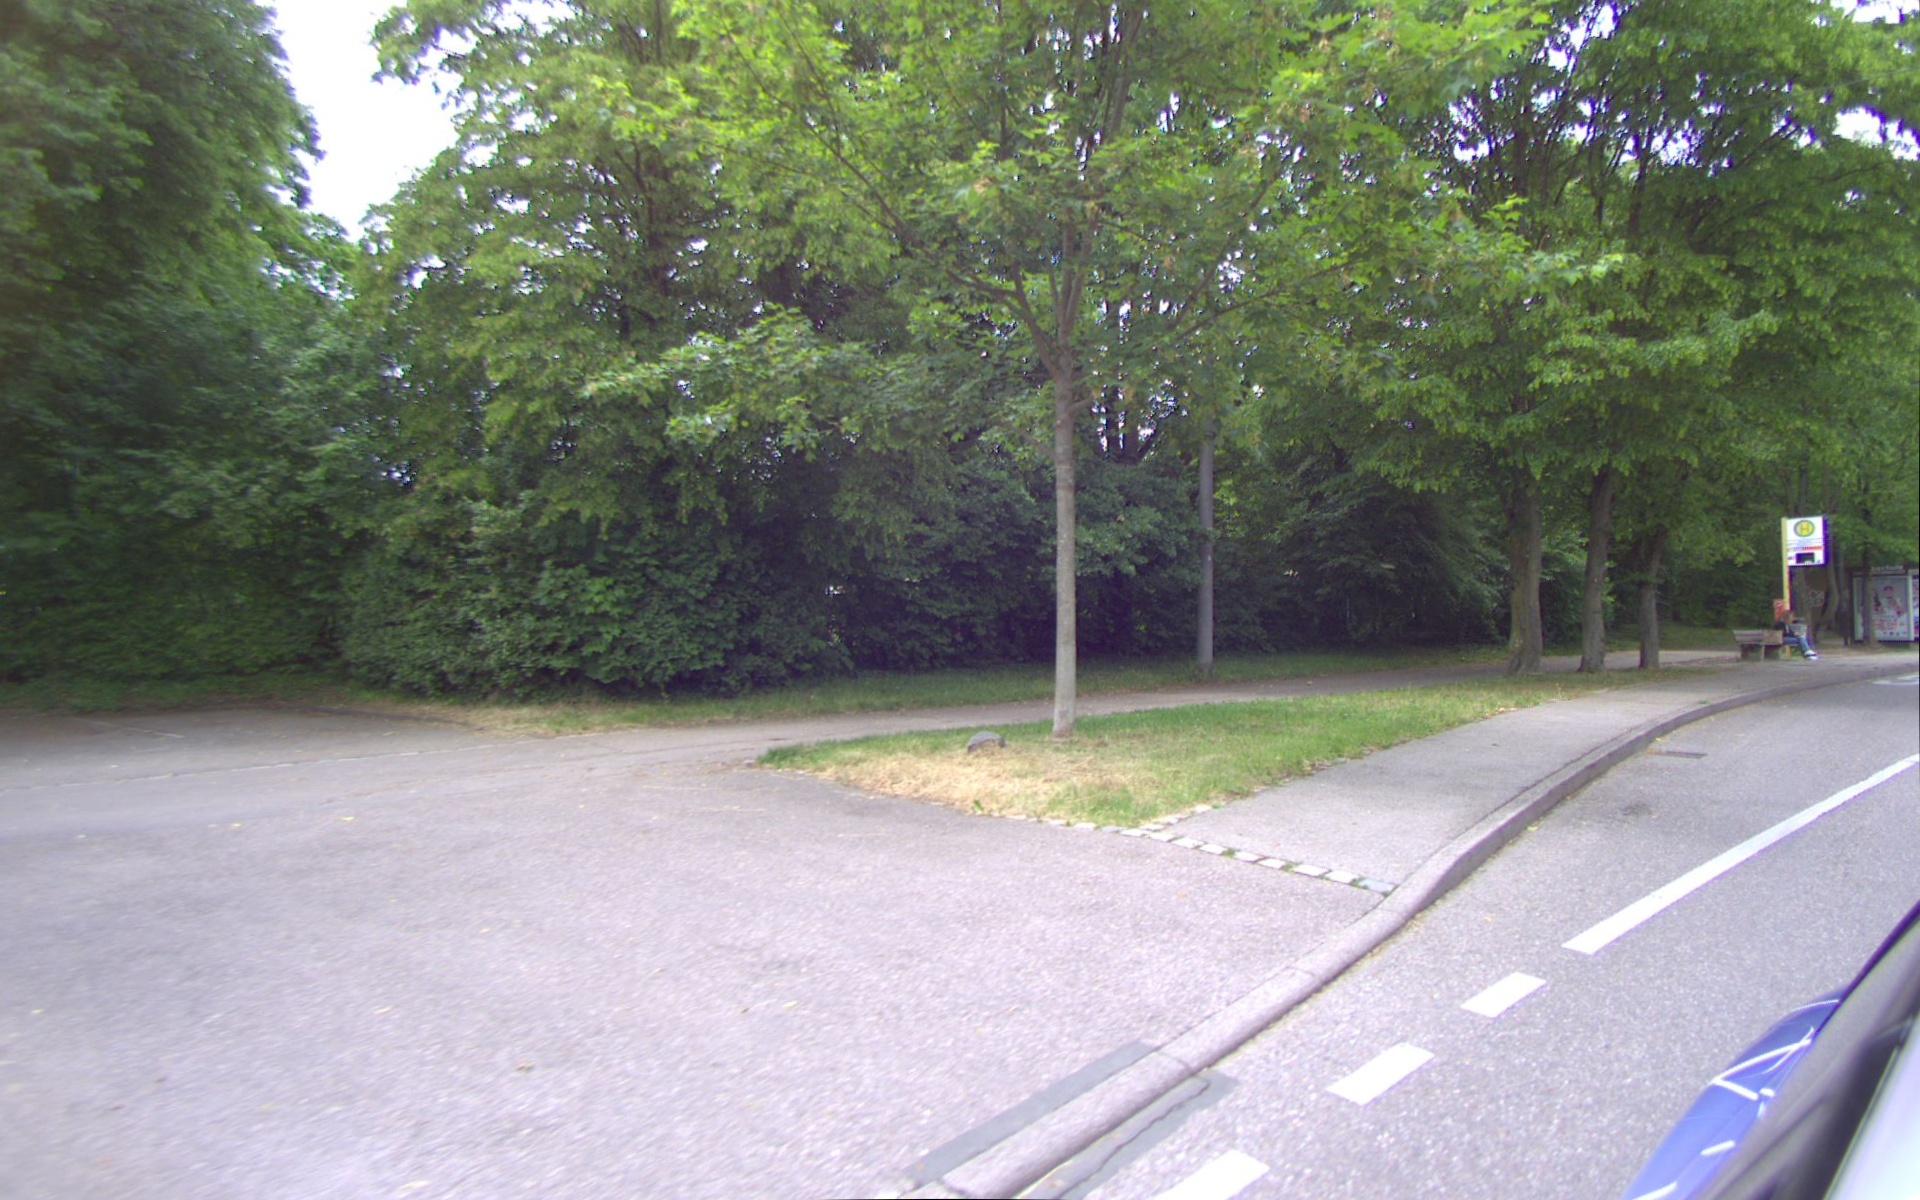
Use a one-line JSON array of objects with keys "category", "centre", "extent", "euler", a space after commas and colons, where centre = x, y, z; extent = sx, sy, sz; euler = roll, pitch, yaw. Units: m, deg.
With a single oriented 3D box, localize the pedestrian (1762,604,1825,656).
[{"category": "pedestrian", "centre": [20.022, 0.707, 24.321], "extent": [0.569, 1.197, 1.066], "euler": [0, -1, -36]}]
